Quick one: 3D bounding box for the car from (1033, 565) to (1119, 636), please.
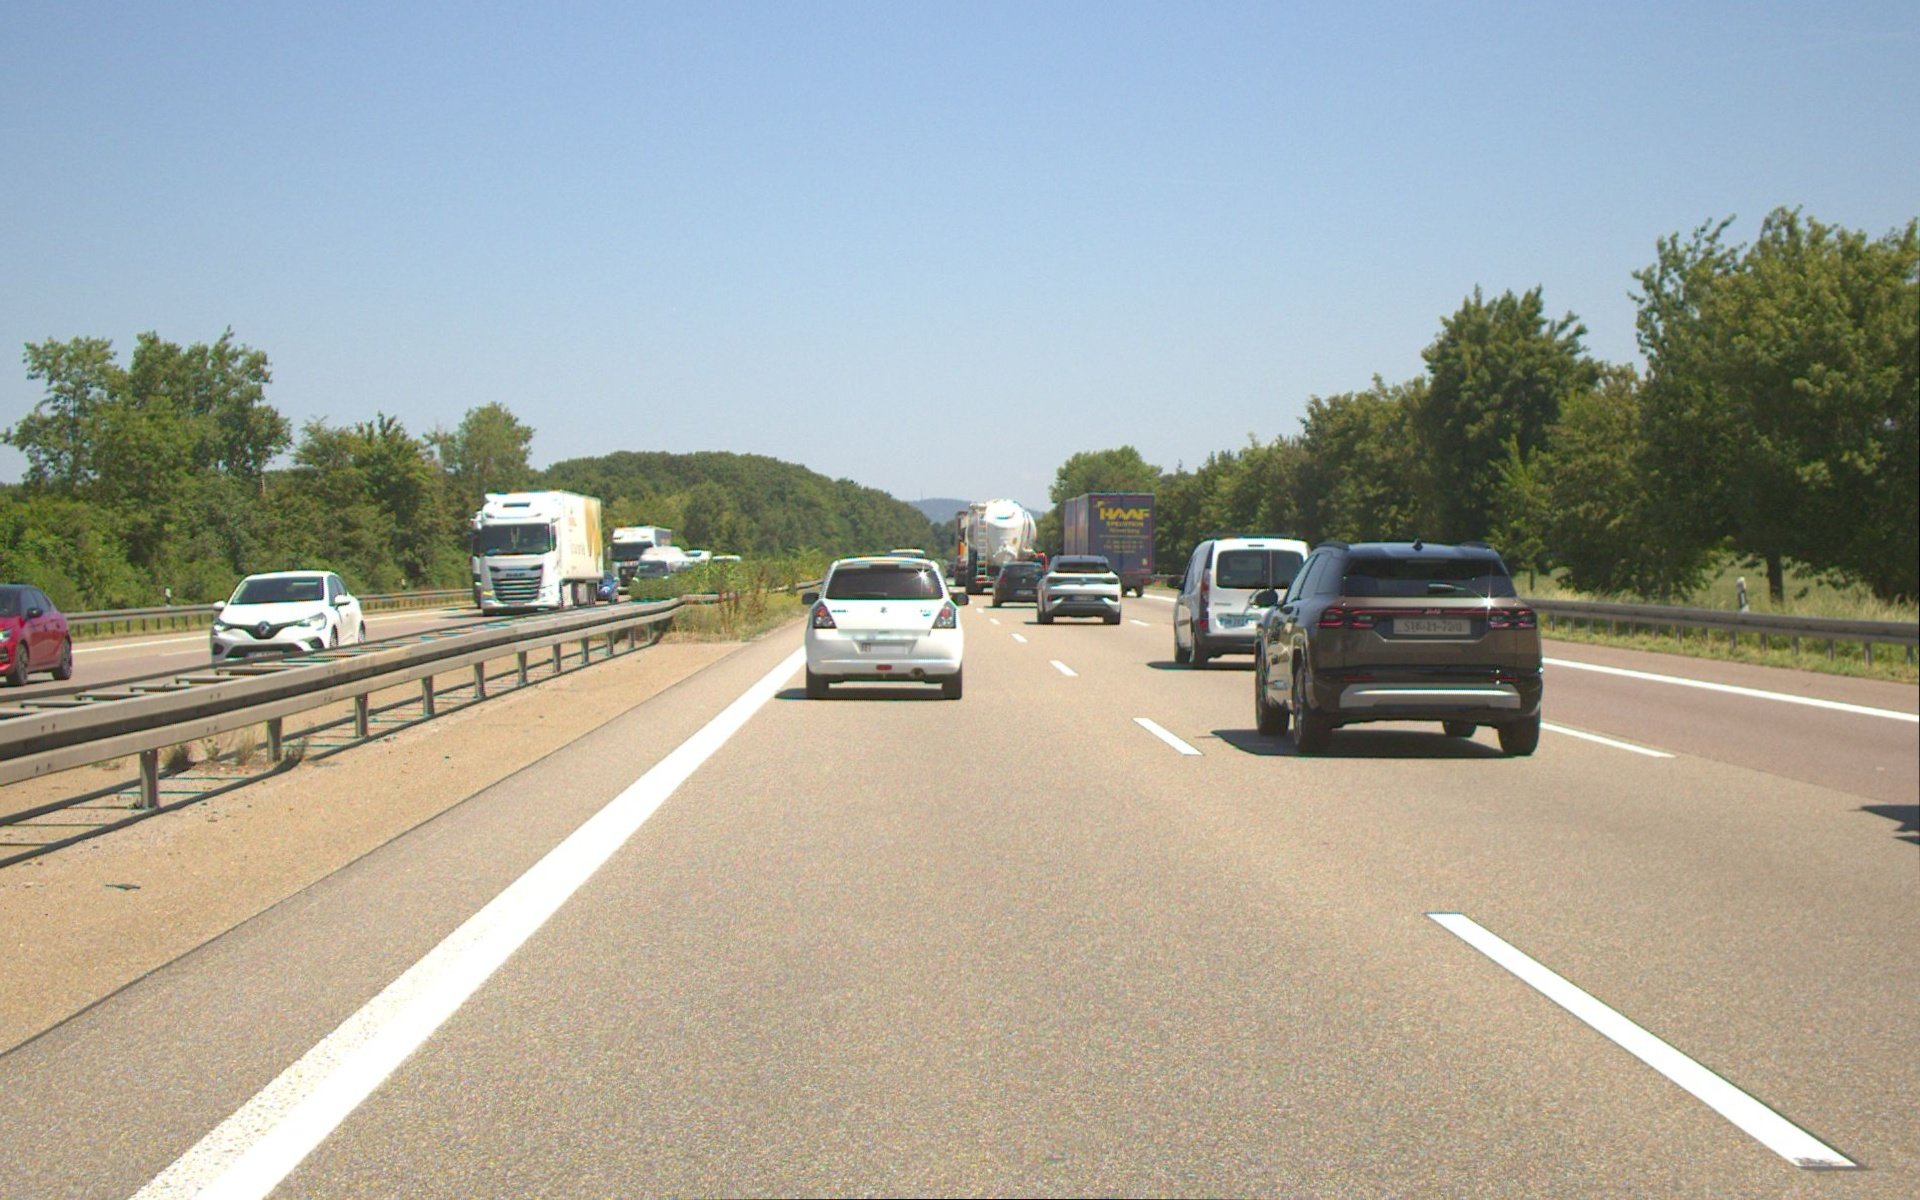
[{"bbox_3d":[2.703,-0.016,81.162,1.802,1.597,4.381,1,1,-1],"label":"car"}]

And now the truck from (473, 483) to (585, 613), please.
[{"bbox_3d":[-14.237,-1.720,114.020,2.740,4.071,6.217,-2,1,1],"label":"truck"}]

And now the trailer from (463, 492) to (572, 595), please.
[{"bbox_3d":[-18.900,-2.387,147.848,2.757,4.089,14.053,-3,1,0],"label":"trailer"}]

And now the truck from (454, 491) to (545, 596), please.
[{"bbox_3d":[-18.846,-2.305,140.986,2.757,4.089,6.152,-3,1,0],"label":"truck"}]

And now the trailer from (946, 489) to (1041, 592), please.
[{"bbox_3d":[1.315,-2.440,142.886,2.911,4.055,12.420,1,1,-4],"label":"trailer"}]

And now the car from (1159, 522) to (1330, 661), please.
[{"bbox_3d":[3.983,-0.141,48.837,1.853,1.856,4.702,1,1,-2],"label":"car"}]

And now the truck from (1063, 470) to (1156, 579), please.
[{"bbox_3d":[5.976,-2.987,139.705,3.109,4.124,15.511,1,1,0],"label":"truck"}]

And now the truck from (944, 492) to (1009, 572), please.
[{"bbox_3d":[0.892,-3.656,187.638,3.394,4.199,12.083,1,1,0],"label":"truck"}]

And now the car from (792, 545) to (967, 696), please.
[{"bbox_3d":[-0.885,0.194,37.793,1.799,1.547,3.610,1,1,-1],"label":"car"}]

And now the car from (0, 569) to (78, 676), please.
[{"bbox_3d":[-14.000,0.329,49.186,1.772,1.412,4.111,-2,1,-2],"label":"car"}]

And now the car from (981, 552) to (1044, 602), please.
[{"bbox_3d":[1.638,-0.731,107.961,1.850,1.518,3.957,1,1,-1],"label":"car"}]

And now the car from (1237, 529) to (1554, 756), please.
[{"bbox_3d":[3.460,0.295,28.168,1.867,1.669,4.746,1,1,-1],"label":"car"}]

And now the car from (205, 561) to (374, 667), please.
[{"bbox_3d":[-9.684,0.179,49.907,1.719,1.417,3.898,-2,1,-1],"label":"car"}]
